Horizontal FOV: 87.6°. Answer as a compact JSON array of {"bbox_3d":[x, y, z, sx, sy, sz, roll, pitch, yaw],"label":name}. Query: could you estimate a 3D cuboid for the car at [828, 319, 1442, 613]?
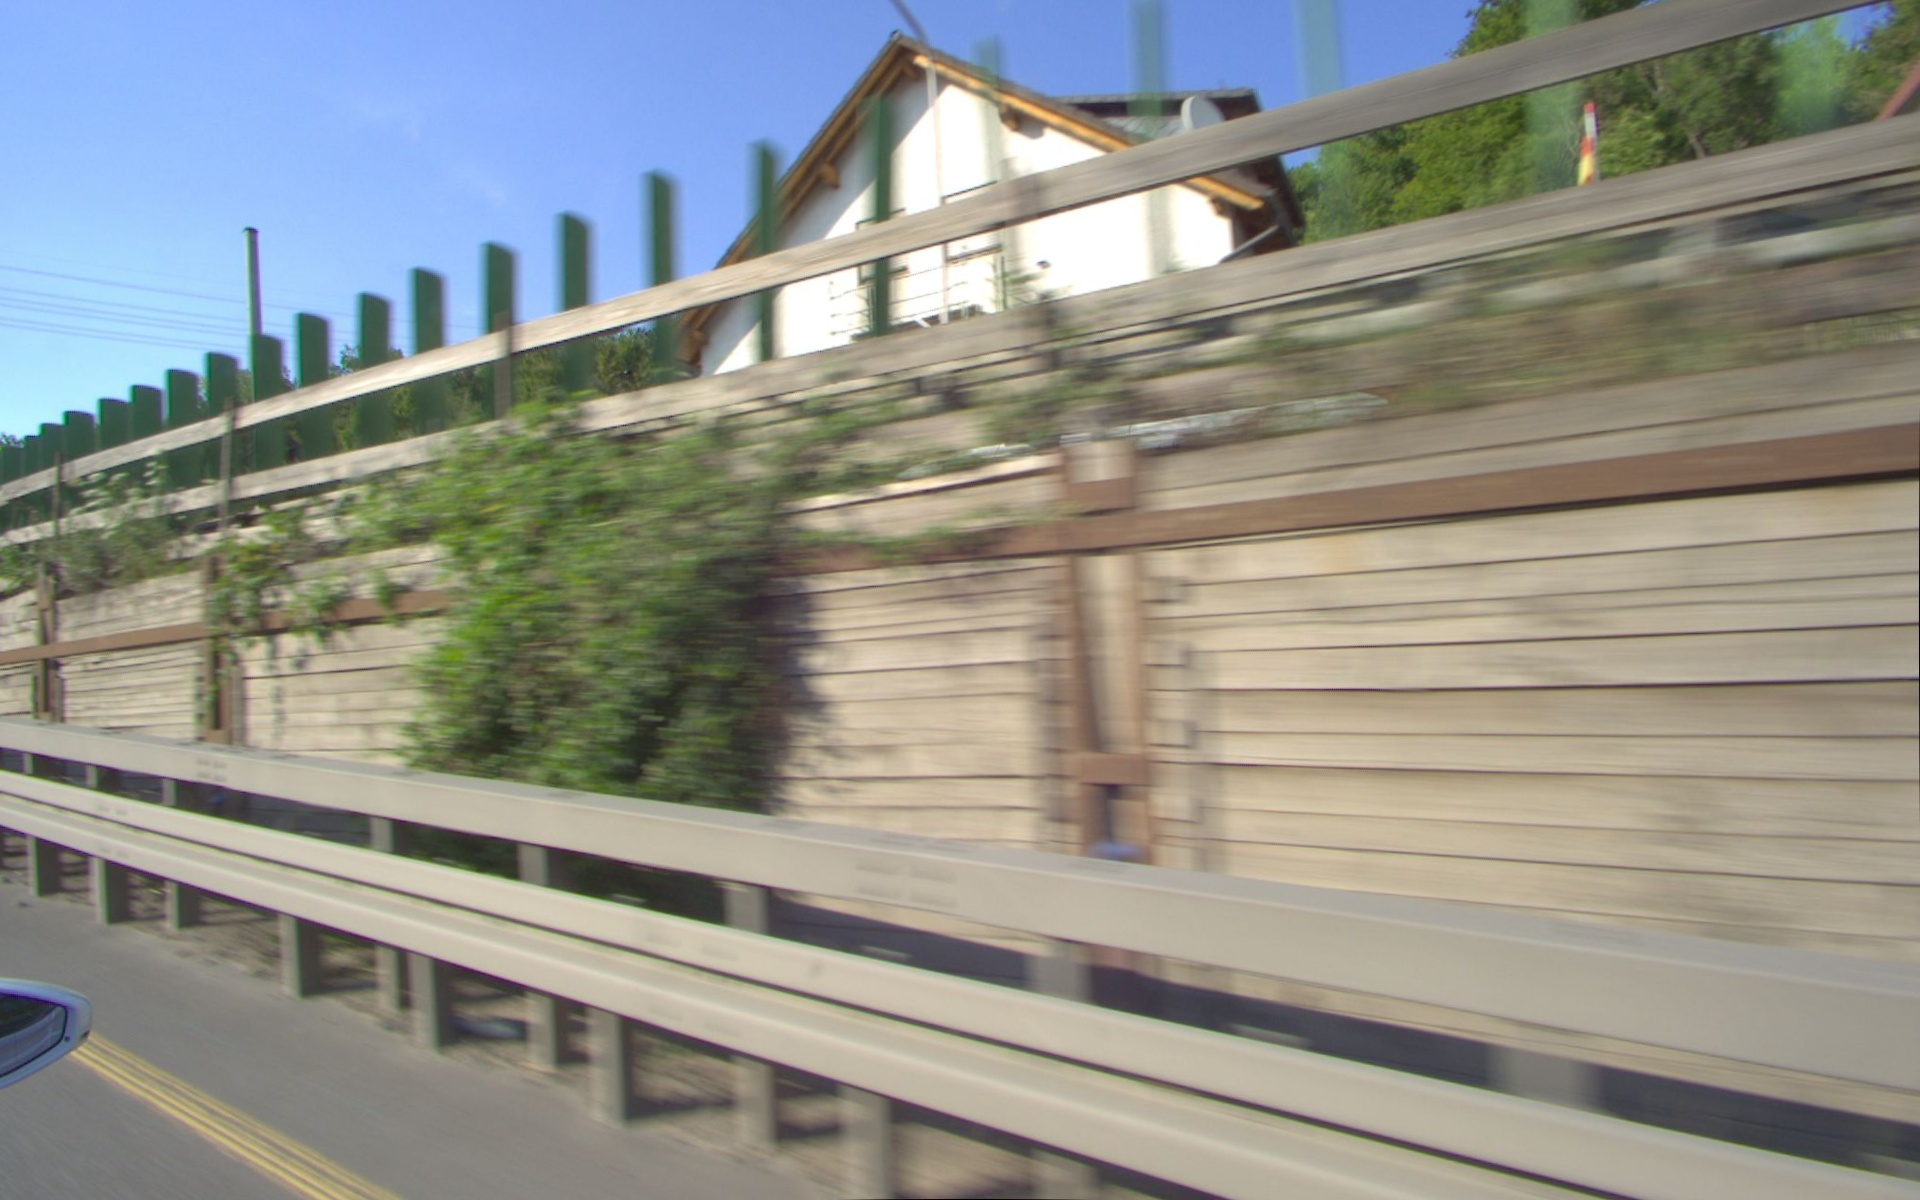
[{"bbox_3d":[1.338,-0.830,8.131,4.575,1.679,1.697,-3,-2,26],"label":"car"}]
